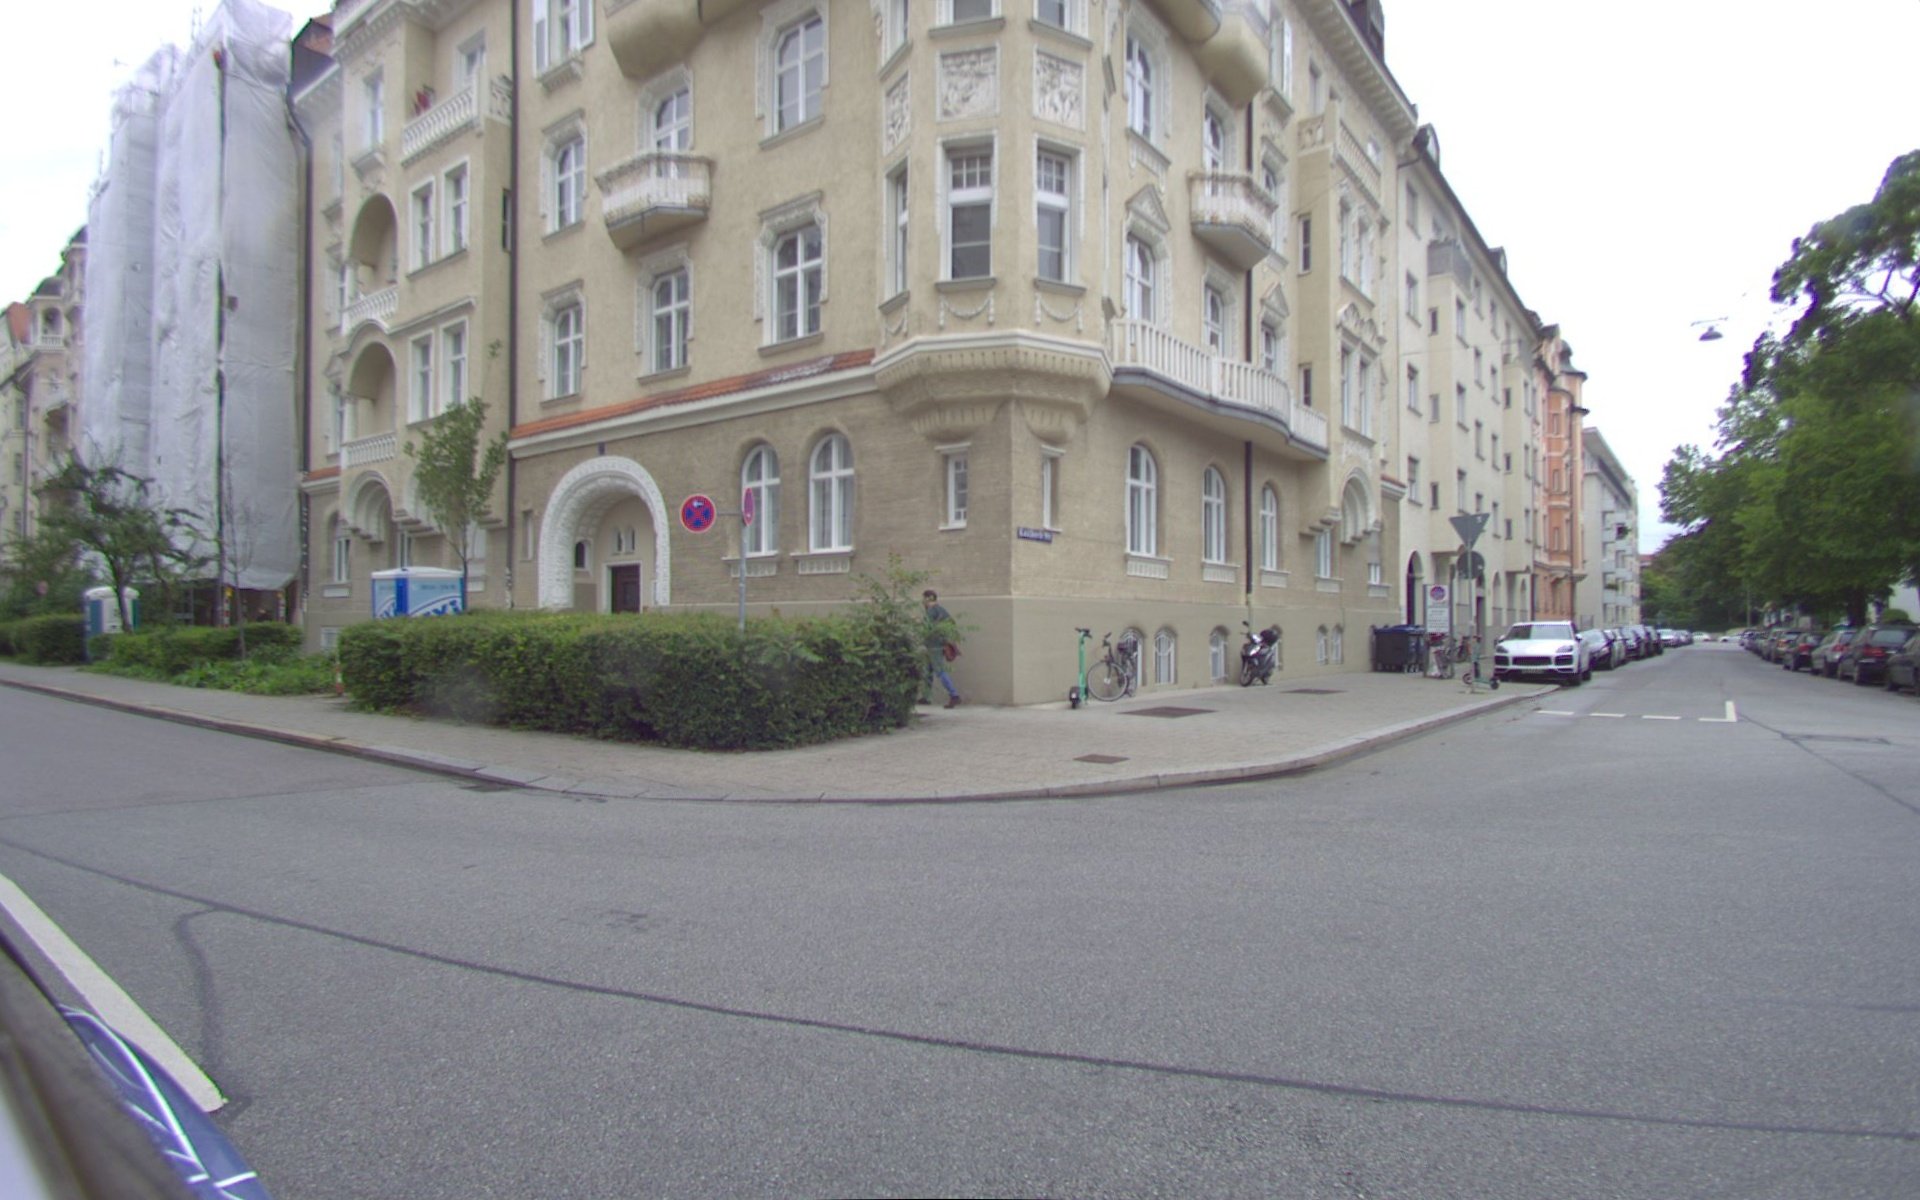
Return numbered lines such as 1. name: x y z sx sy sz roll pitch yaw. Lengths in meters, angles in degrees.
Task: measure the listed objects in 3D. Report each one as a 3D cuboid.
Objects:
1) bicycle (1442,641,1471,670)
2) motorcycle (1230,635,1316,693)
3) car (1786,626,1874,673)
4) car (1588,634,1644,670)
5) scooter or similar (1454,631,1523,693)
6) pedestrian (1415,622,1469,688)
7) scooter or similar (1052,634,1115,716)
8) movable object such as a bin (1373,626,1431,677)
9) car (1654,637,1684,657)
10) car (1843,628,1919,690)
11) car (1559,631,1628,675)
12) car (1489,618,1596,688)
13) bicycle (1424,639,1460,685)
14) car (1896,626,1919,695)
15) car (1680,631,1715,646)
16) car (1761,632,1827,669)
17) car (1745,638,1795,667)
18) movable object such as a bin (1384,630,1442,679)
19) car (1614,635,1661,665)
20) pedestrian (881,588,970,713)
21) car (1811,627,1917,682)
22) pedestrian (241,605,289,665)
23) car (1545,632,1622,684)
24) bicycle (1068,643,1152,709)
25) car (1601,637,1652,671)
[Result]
1. bicycle: 18.808 2.069 38.323 0.623 1.054 2.188 -1 -2 36
2. motorcycle: 6.793 1.351 21.892 1.005 1.189 2.531 -1 -3 36
3. car: 30.290 1.691 35.341 1.771 1.530 3.989 -1 -2 33
4. car: 31.017 2.421 47.805 1.996 1.608 4.160 -1 -2 36
5. scooter or similar: 12.410 1.437 23.813 0.697 1.405 1.359 1 -2 -12
6. pedestrian: 13.731 1.550 28.844 1.131 1.818 1.255 -2 -3 38
7. scooter or similar: 1.847 1.110 15.321 0.520 1.175 1.359 1 -2 -12
8. movable object such as a bin: 13.203 1.523 30.234 1.343 1.468 1.148 -2 -3 38
9. car: 60.037 3.987 85.668 1.996 1.608 4.160 -1 -2 36
10. car: 24.878 1.516 26.727 1.771 1.530 3.989 -1 -2 33
11. car: 24.916 2.048 39.761 1.996 1.608 4.160 -1 -2 36
12. car: 15.851 1.375 27.410 1.996 1.704 4.751 -1 -2 36
13. bicycle: 12.800 1.614 26.840 0.549 1.158 1.823 -1 -2 35
14. car: 22.298 1.346 22.305 1.771 1.530 3.989 -1 -2 33
15. car: 105.275 5.495 144.504 3.996 2.029 1.974 -1 -3 39
16. car: 36.612 2.174 44.528 1.771 1.530 3.989 -1 -2 33
17. car: 45.005 2.887 56.313 1.771 1.530 3.989 -1 -2 33
18. movable object such as a bin: 14.003 1.665 31.282 1.343 1.468 1.280 -2 -3 38
19. car: 38.020 2.782 56.776 1.996 1.608 4.160 -1 -2 36
20. pedestrian: -0.519 0.756 15.394 1.052 1.824 0.882 -1 -3 30
21. car: 27.323 1.596 30.717 1.771 1.530 3.989 -1 -2 33
22. pedestrian: -20.903 1.064 30.444 0.946 1.765 0.905 -1 -3 38
23. car: 22.080 2.001 35.789 1.996 1.704 4.160 -1 -2 36
24. bicycle: 2.529 1.237 16.884 0.559 1.030 1.859 -1 -3 37
25. car: 34.446 2.744 52.285 1.996 1.608 4.160 -1 -2 36
